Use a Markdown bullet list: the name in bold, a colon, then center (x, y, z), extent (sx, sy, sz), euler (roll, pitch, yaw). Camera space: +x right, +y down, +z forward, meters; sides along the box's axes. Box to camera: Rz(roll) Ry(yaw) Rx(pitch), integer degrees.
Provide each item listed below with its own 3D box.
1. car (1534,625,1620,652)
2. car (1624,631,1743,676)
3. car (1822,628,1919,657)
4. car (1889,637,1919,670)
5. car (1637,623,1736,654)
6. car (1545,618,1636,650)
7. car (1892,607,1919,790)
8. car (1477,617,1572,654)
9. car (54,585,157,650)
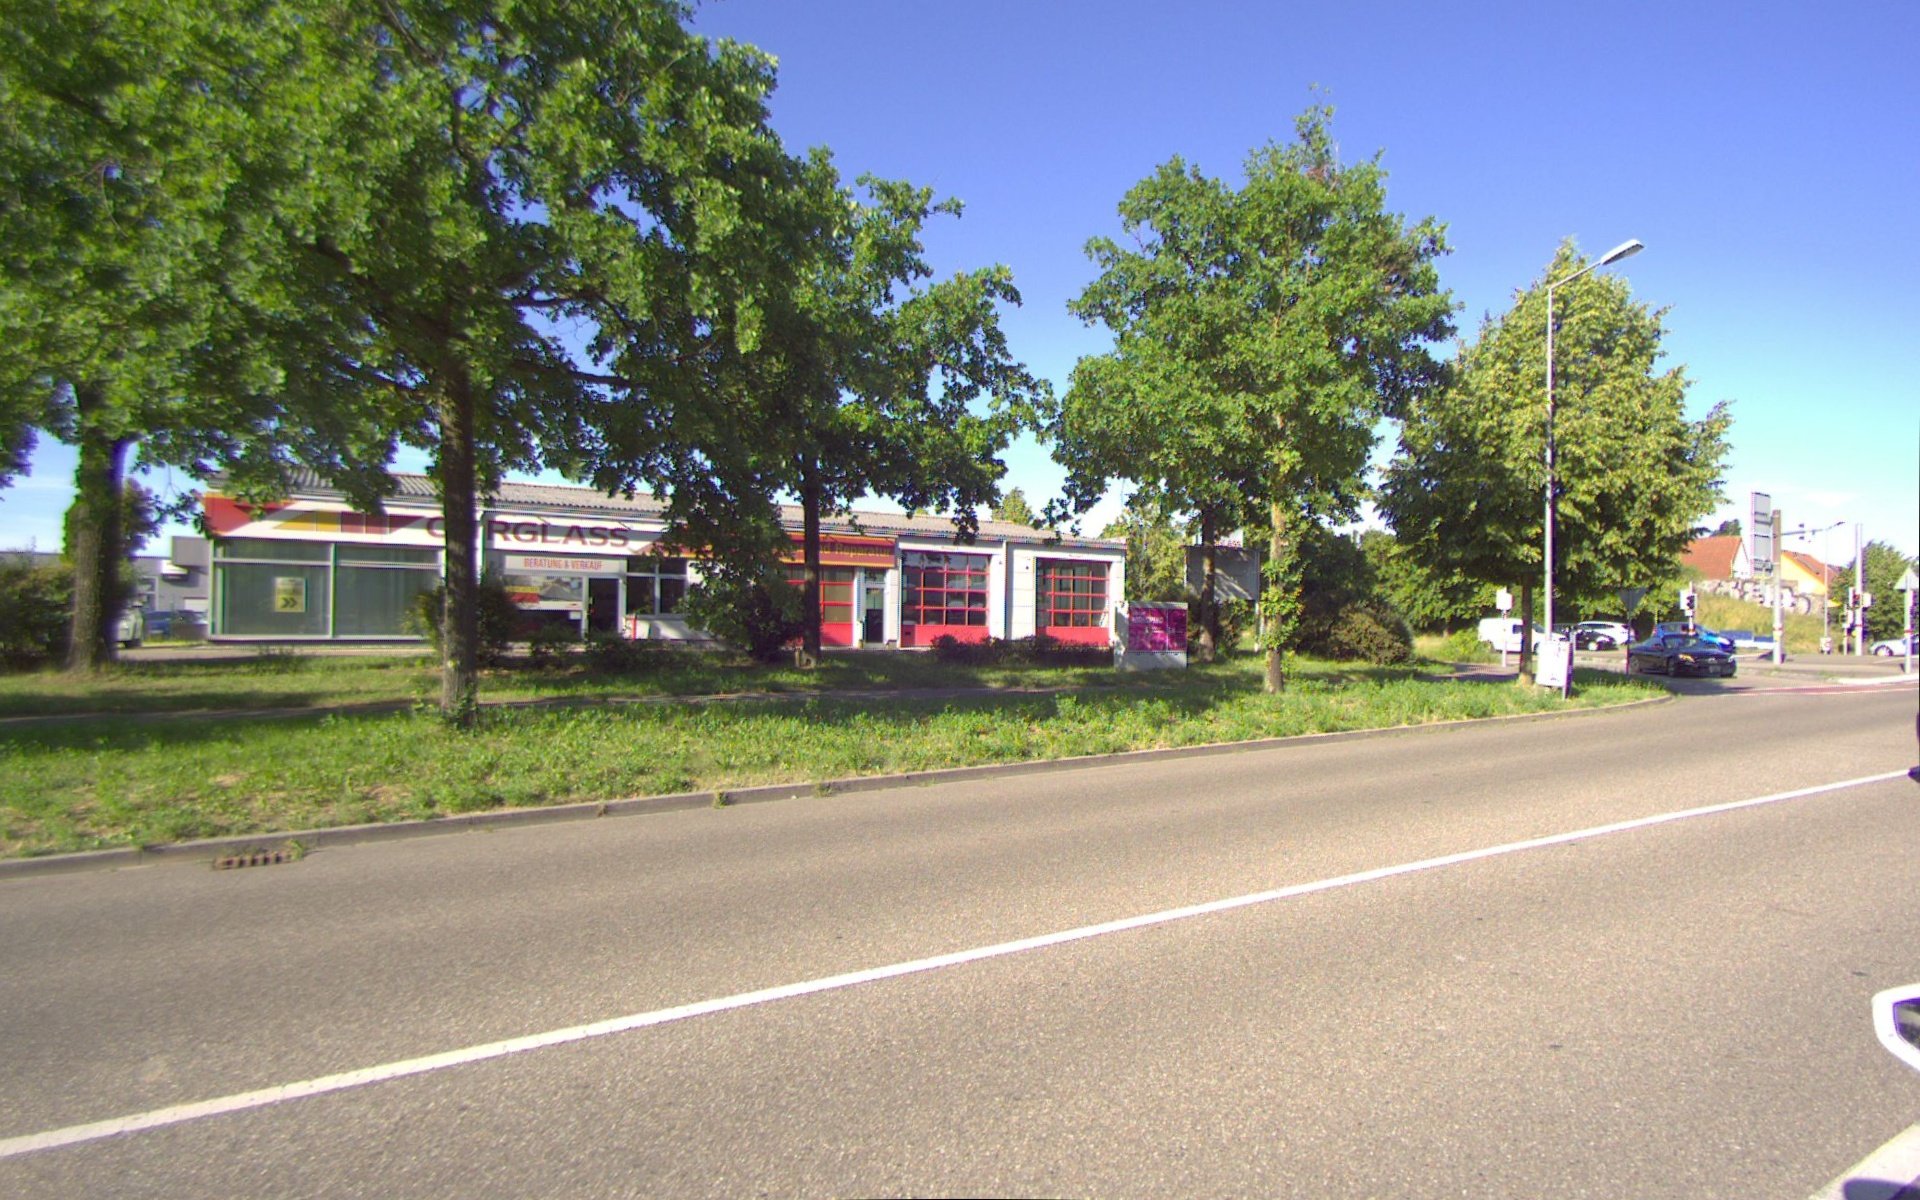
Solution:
- **car**: center (34.446, 2.156, 56.148), extent (1.494, 1.330, 3.817), euler (2, -1, -38)
- **car**: center (25.064, 1.866, 35.012), extent (1.960, 1.421, 4.590), euler (-2, -3, 18)
- **car**: center (47.995, 2.228, 52.783), extent (1.666, 1.358, 3.821), euler (2, -1, -34)
- **car**: center (47.740, 2.588, 47.955), extent (1.980, 1.560, 4.671), euler (1, -1, -35)
- **car**: center (37.621, 1.977, 52.081), extent (1.668, 1.403, 3.817), euler (2, -1, -38)
- **car**: center (37.979, 2.037, 60.541), extent (1.700, 1.705, 4.342), euler (2, -1, -43)
- **car**: center (10.998, 0.961, 9.753), extent (3.957, 1.695, 1.812), euler (2, -3, -31)
- **car**: center (29.229, 1.823, 52.128), extent (1.444, 1.825, 4.081), euler (2, -2, -37)
- **car**: center (-21.453, 0.442, 25.345), extent (1.577, 1.517, 3.573), euler (2, -2, -35)
